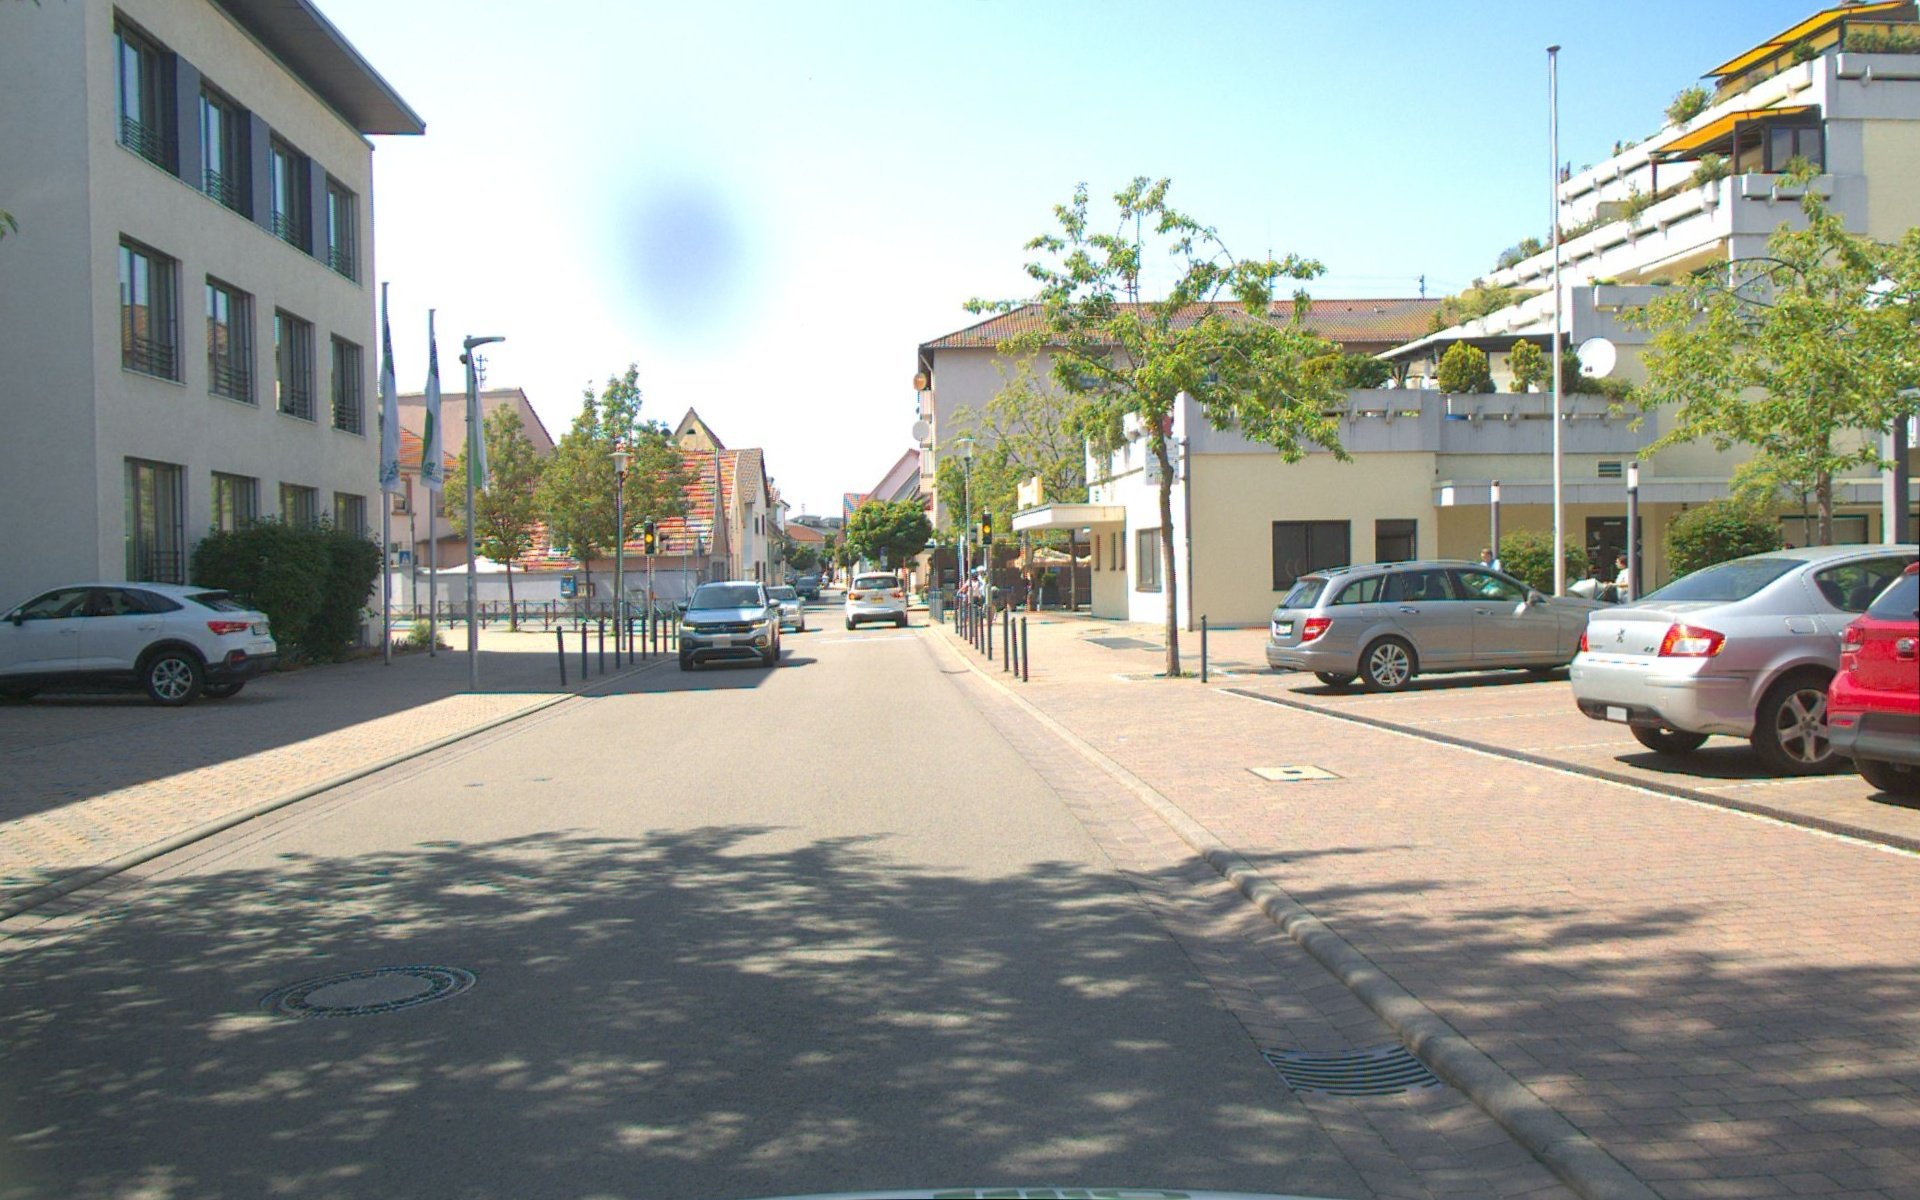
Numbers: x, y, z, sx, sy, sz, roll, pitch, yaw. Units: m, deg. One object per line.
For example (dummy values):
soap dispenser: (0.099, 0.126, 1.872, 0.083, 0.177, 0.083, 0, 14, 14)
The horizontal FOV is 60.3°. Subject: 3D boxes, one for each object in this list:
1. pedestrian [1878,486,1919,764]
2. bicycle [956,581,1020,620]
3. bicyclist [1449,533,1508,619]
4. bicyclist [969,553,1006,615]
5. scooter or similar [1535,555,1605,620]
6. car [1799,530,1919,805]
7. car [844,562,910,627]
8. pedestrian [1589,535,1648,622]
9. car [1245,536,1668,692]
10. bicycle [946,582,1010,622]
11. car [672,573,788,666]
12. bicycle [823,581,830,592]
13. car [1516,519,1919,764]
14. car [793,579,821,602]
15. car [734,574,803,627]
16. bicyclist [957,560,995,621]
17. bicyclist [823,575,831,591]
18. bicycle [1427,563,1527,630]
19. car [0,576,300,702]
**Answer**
pedestrian: (6.384, 0.140, 10.405, 0.735, 1.747, 0.697, -3, 1, -10)
bicycle: (0.805, 0.003, 47.133, 1.882, 0.974, 0.665, -5, 2, -45)
bicyclist: (9.675, -0.452, 30.865, 0.751, 1.553, 0.664, -3, 1, -30)
bicyclist: (0.785, -0.456, 47.129, 0.756, 1.693, 0.660, -4, 1, -44)
scooter or similar: (10.973, -0.223, 29.754, 1.019, 1.126, 0.628, -1, 0, 0)
car: (6.945, 0.279, 9.268, 3.661, 1.477, 1.741, -3, 1, -10)
car: (-2.458, -0.197, 49.162, 1.797, 1.680, 3.999, -3, 2, -2)
pedestrian: (11.841, -0.385, 29.754, 0.782, 1.547, 0.706, -1, 1, 0)
car: (5.949, 0.142, 20.070, 4.492, 1.539, 1.912, -3, 0, -10)
bicycle: (0.513, 0.058, 45.688, 0.663, 0.974, 1.886, -2, 2, 41)
car: (-4.288, 0.319, 31.386, 1.814, 1.601, 3.998, -1, 1, -3)
bicycle: (-12.455, -1.241, 154.689, 0.651, 1.023, 1.896, -1, 1, -4)
car: (6.521, 0.177, 11.826, 4.453, 1.465, 1.836, -3, 1, -10)
car: (-10.713, -0.672, 115.964, 1.679, 1.543, 3.785, -1, 1, -1)
car: (-5.825, -0.011, 50.789, 1.843, 1.489, 4.433, -1, 1, -4)
bicyclist: (0.441, -0.255, 45.611, 0.658, 1.609, 0.758, -2, 2, 40)
bicyclist: (-12.450, -1.597, 154.748, 0.660, 1.508, 0.770, -1, 1, -5)
bicycle: (9.647, -0.067, 30.840, 1.870, 1.128, 0.669, -4, 1, -30)
car: (-11.396, 0.478, 21.961, 4.418, 1.581, 2.146, 0, 0, -5)
